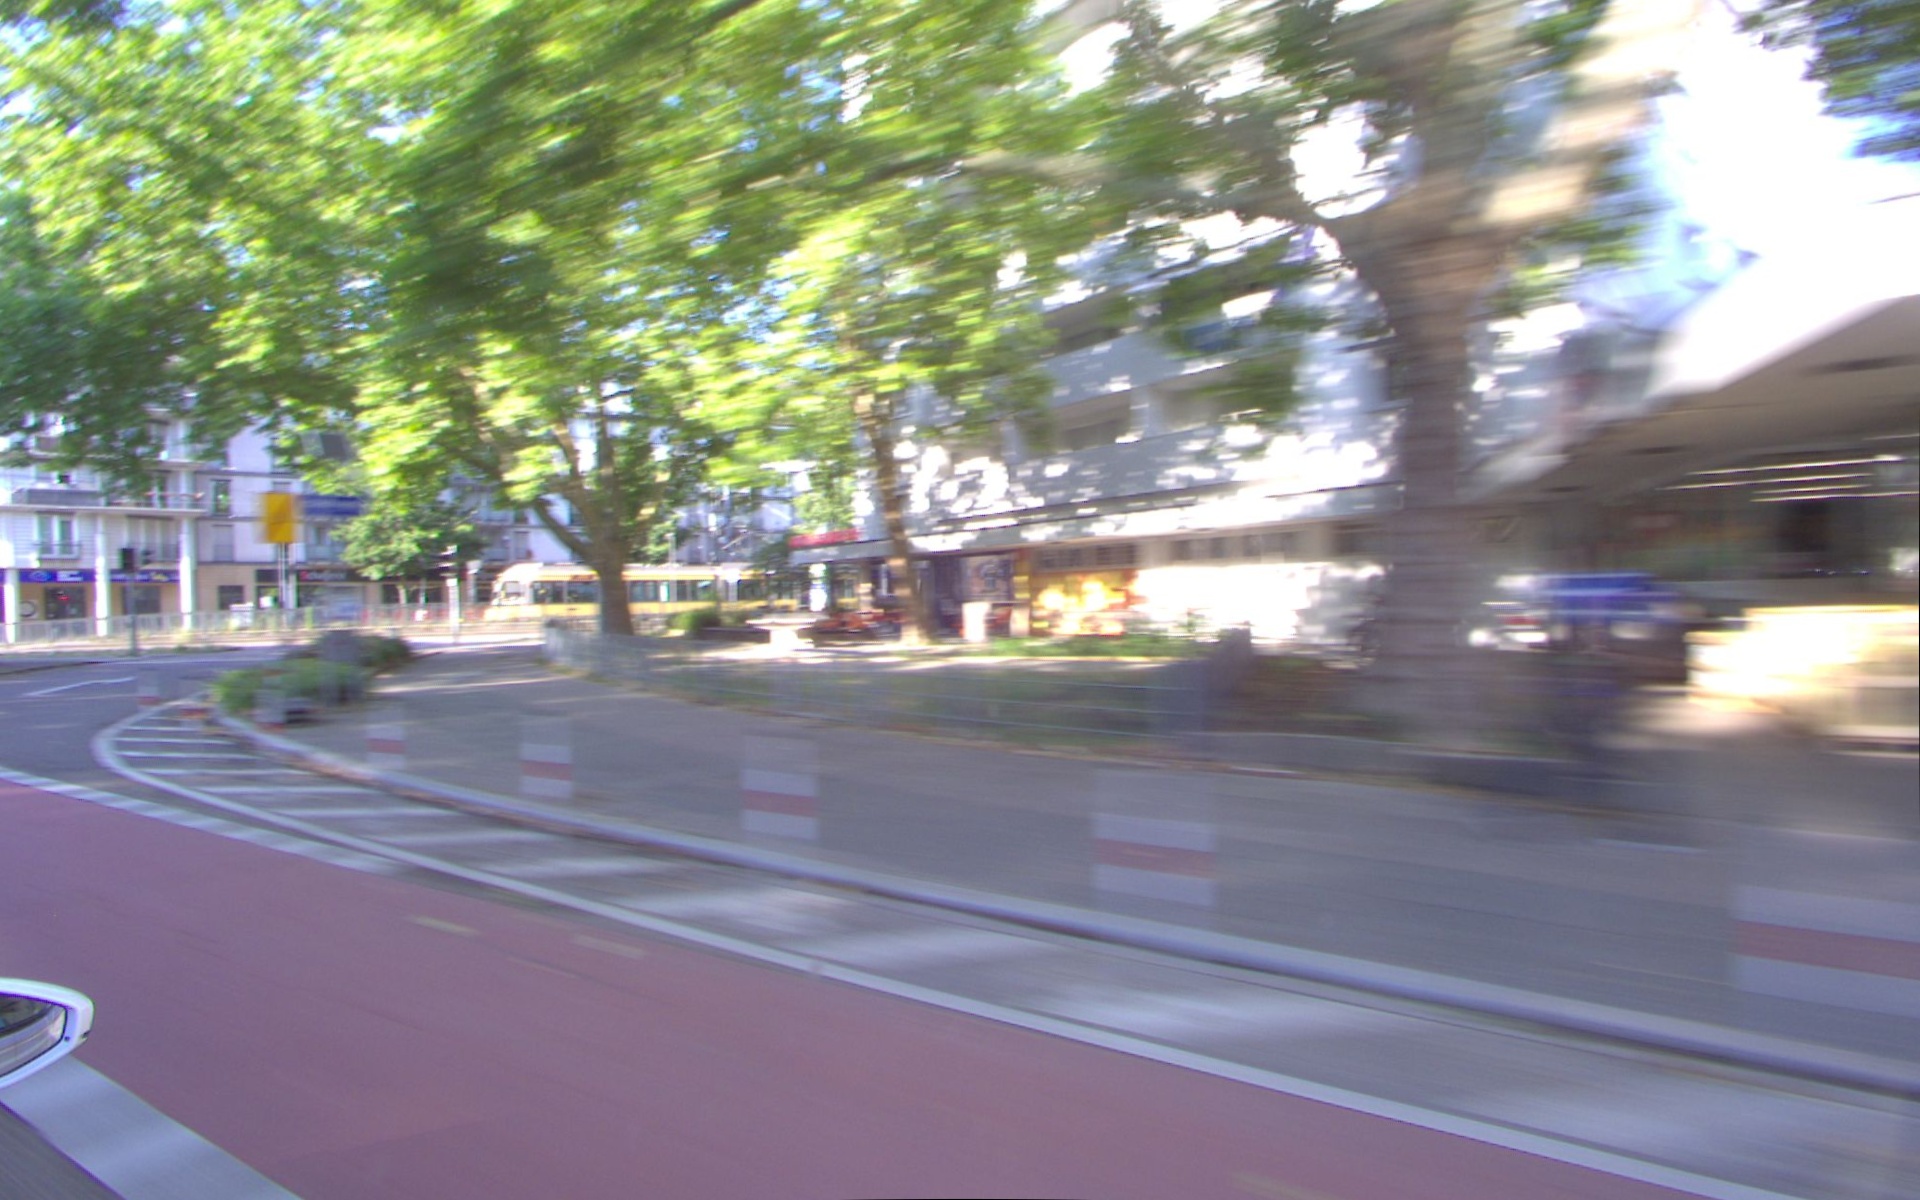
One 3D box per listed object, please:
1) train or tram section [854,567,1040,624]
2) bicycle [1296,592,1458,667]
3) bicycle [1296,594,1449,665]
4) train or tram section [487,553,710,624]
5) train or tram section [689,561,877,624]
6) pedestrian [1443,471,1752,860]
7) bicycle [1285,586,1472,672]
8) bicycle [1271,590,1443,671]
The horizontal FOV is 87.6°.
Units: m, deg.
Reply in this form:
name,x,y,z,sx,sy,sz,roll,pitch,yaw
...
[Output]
name,x,y,z,sx,sy,sz,roll,pitch,yaw
train or tram section,-0.709,-0.166,71.966,13.826,3.686,3.396,1,-2,-35
bicycle,6.854,0.504,16.602,2.382,1.188,0.767,-1,-1,15
bicycle,7.156,0.534,17.502,2.382,1.188,0.767,-1,-1,15
train or tram section,-20.663,-0.482,57.804,11.676,3.686,3.396,1,-2,-35
train or tram section,-11.257,-0.346,64.840,11.676,3.686,3.396,1,-2,-35
pedestrian,3.517,0.332,5.652,1.130,2.043,0.828,-1,5,2
bicycle,5.955,0.430,14.417,2.382,1.188,0.767,-1,-1,15
bicycle,6.081,0.486,15.478,2.382,1.188,0.767,-1,-1,15
